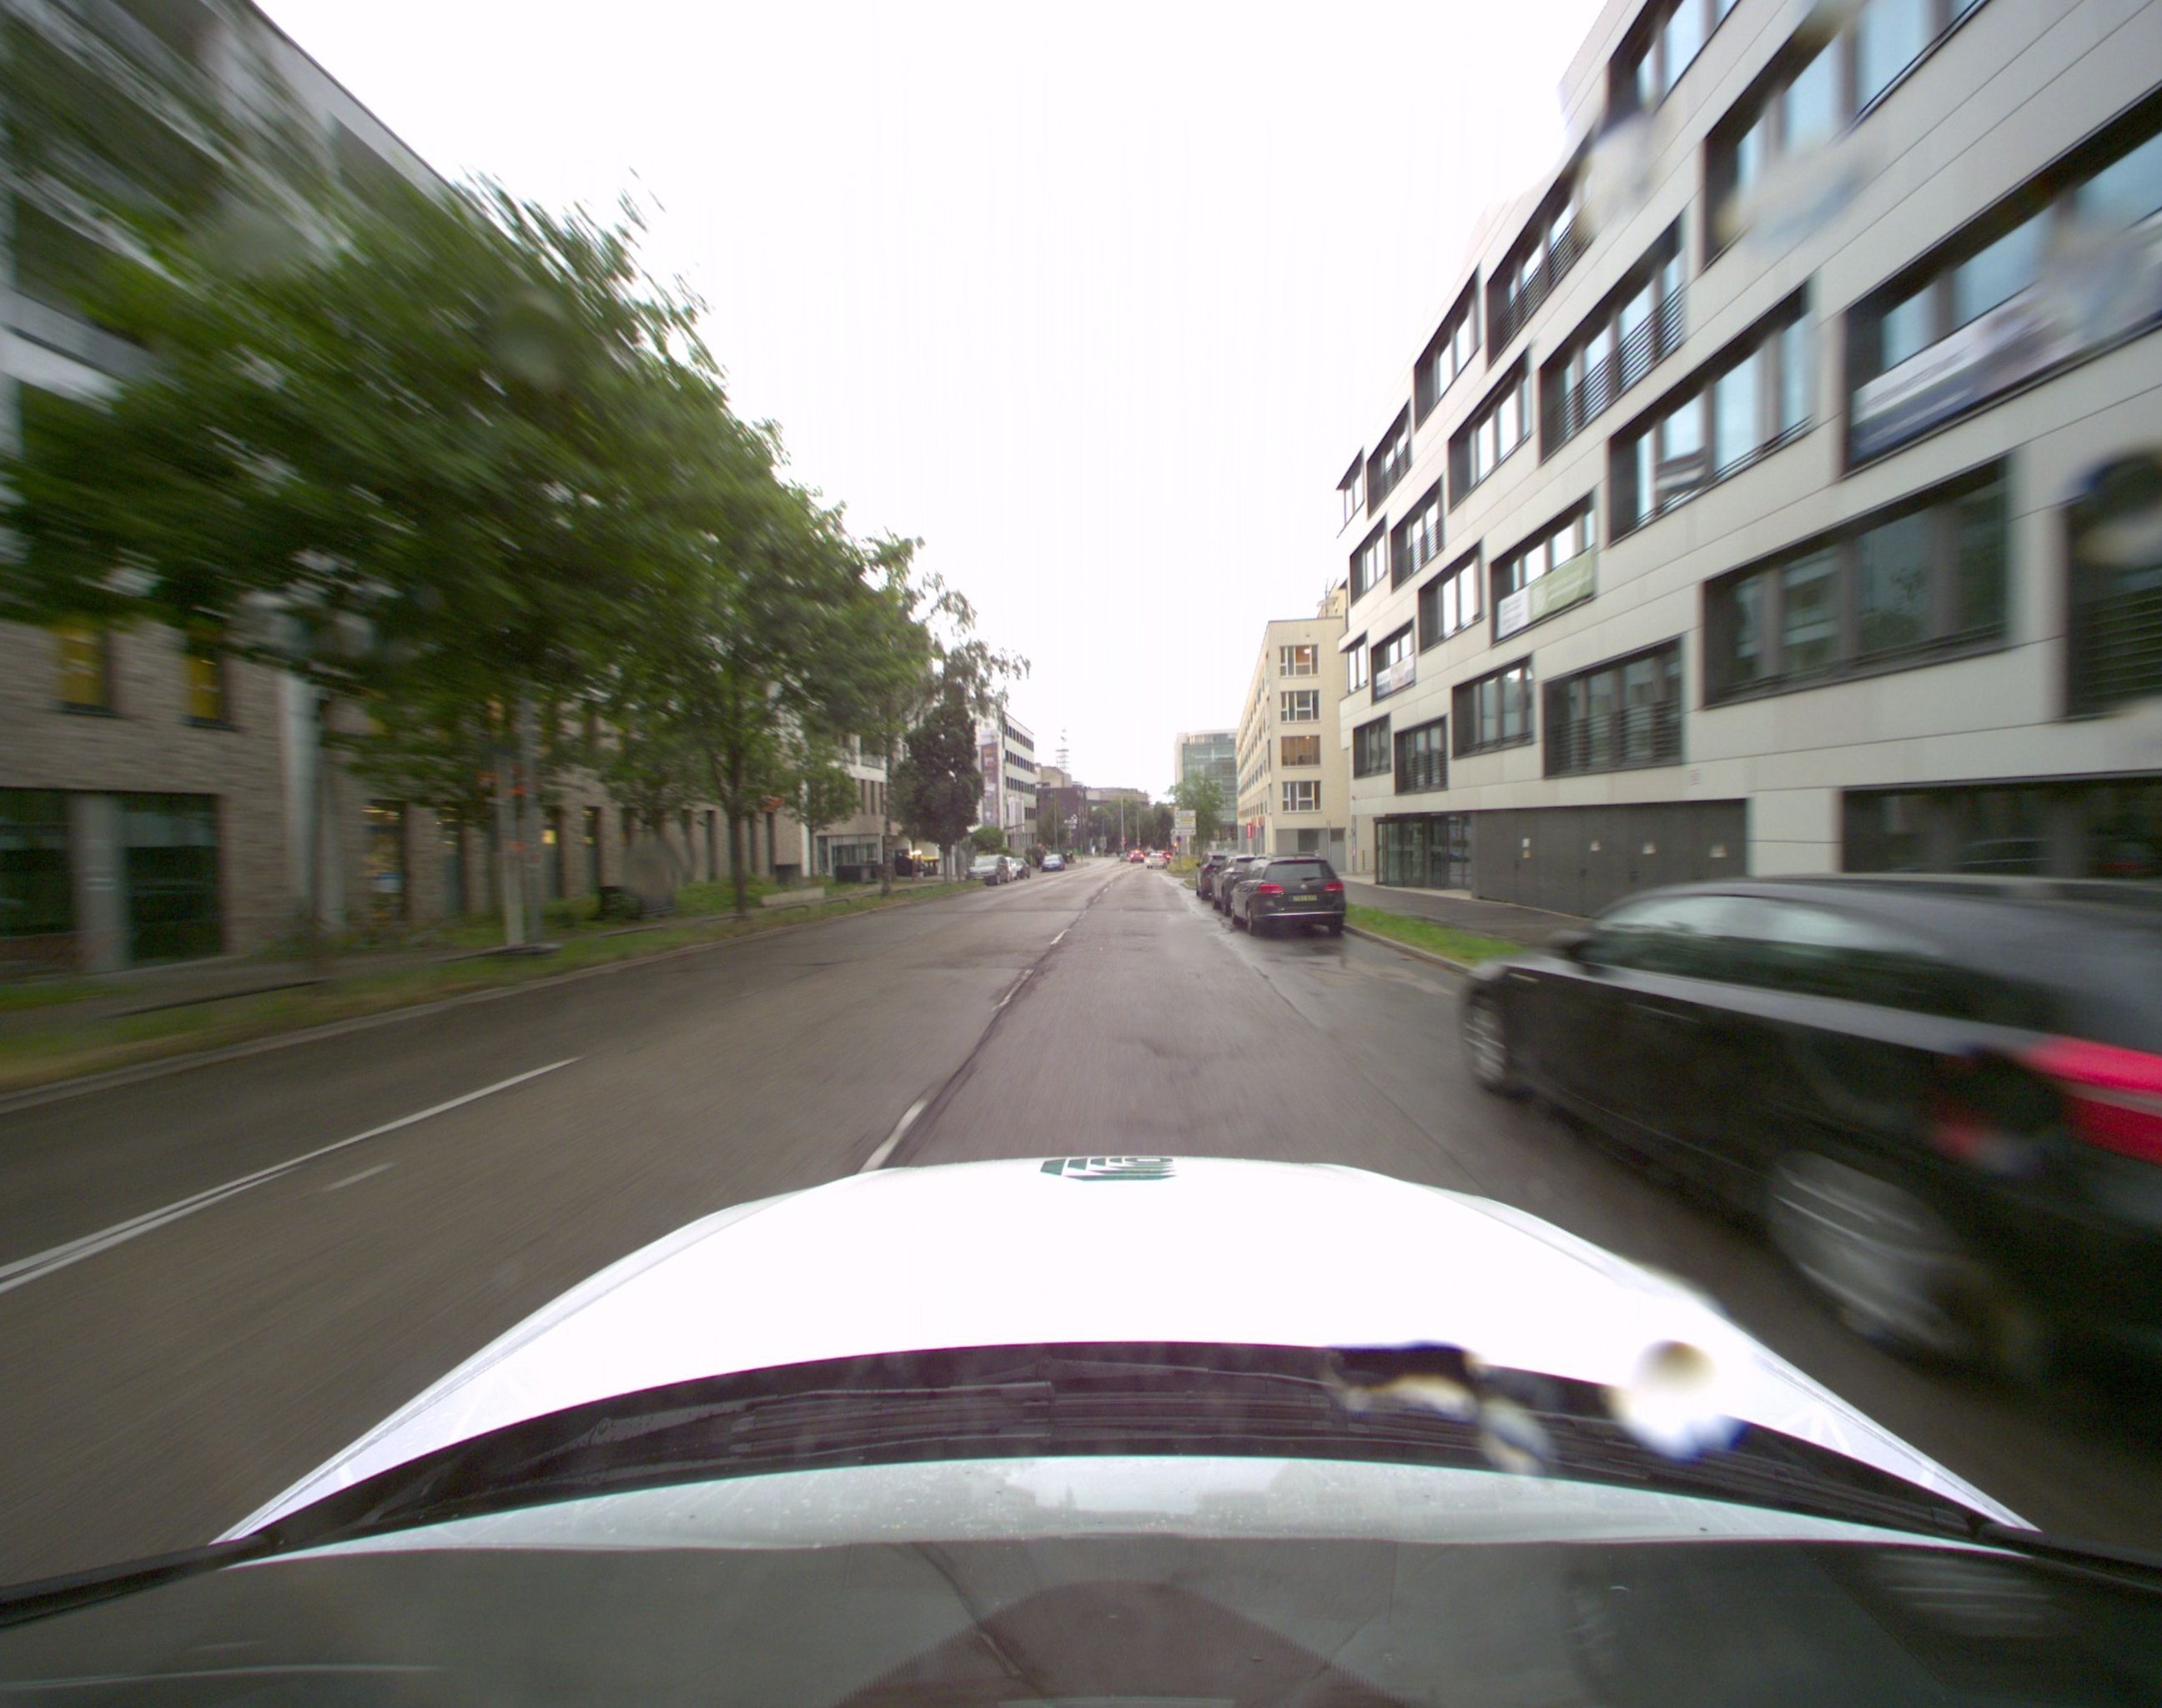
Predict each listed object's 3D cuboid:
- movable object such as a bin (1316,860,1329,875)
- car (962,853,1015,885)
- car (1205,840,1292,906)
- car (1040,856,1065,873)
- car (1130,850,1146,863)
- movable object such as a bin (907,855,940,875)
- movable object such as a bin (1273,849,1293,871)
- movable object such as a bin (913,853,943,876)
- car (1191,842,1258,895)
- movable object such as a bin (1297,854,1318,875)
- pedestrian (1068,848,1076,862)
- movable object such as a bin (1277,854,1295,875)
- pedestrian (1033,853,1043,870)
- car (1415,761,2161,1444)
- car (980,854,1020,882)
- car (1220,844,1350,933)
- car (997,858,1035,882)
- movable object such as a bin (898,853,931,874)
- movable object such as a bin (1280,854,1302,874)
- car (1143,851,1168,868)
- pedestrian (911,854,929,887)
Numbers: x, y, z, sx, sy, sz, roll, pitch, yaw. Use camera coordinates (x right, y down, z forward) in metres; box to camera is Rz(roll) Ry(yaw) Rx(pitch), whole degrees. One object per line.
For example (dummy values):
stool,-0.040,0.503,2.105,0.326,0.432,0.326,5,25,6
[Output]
movable object such as a bin,16.627,0.924,56.015,0.695,1.027,0.854,-2,-1,6
car,-5.073,0.792,45.296,2.069,1.609,4.689,-3,0,3
car,4.461,0.511,22.232,1.741,1.605,4.378,-1,-1,4
car,-2.592,0.970,74.804,1.906,1.481,4.358,-1,-1,2
car,8.110,0.385,115.507,2.132,1.728,4.004,-1,-1,4
movable object such as a bin,-11.160,0.773,57.772,2.047,1.423,1.317,-1,-1,1
movable object such as a bin,14.249,0.436,57.493,1.167,1.503,1.016,-2,-1,7
movable object such as a bin,-11.116,0.758,59.294,1.789,1.510,1.482,-3,-1,1
car,4.906,0.462,28.429,1.799,1.679,4.717,-1,0,4
movable object such as a bin,15.600,0.734,56.120,1.254,1.402,1.114,-2,-1,6
pedestrian,-1.281,0.182,118.082,0.959,1.955,0.777,-1,-2,-8
movable object such as a bin,14.188,0.724,56.417,1.016,1.402,1.059,-2,-1,6
pedestrian,-4.355,0.780,82.432,0.731,1.708,0.896,-1,-2,-23
car,3.328,0.564,3.982,1.799,1.484,4.500,-1,-1,4
car,-4.957,0.859,50.555,1.765,1.600,4.036,-2,0,4
car,4.064,0.674,17.000,1.799,1.563,4.851,-1,-1,4
car,-4.392,1.107,55.260,1.788,1.516,4.252,-1,-1,6
movable object such as a bin,-11.536,0.664,56.455,2.020,1.430,1.290,0,-1,1
movable object such as a bin,14.237,0.673,55.313,1.228,1.320,1.194,-2,-2,6
car,7.218,0.516,78.819,1.981,1.577,4.008,-2,0,11
pedestrian,-8.373,0.845,42.486,0.706,1.683,0.956,-2,0,0
